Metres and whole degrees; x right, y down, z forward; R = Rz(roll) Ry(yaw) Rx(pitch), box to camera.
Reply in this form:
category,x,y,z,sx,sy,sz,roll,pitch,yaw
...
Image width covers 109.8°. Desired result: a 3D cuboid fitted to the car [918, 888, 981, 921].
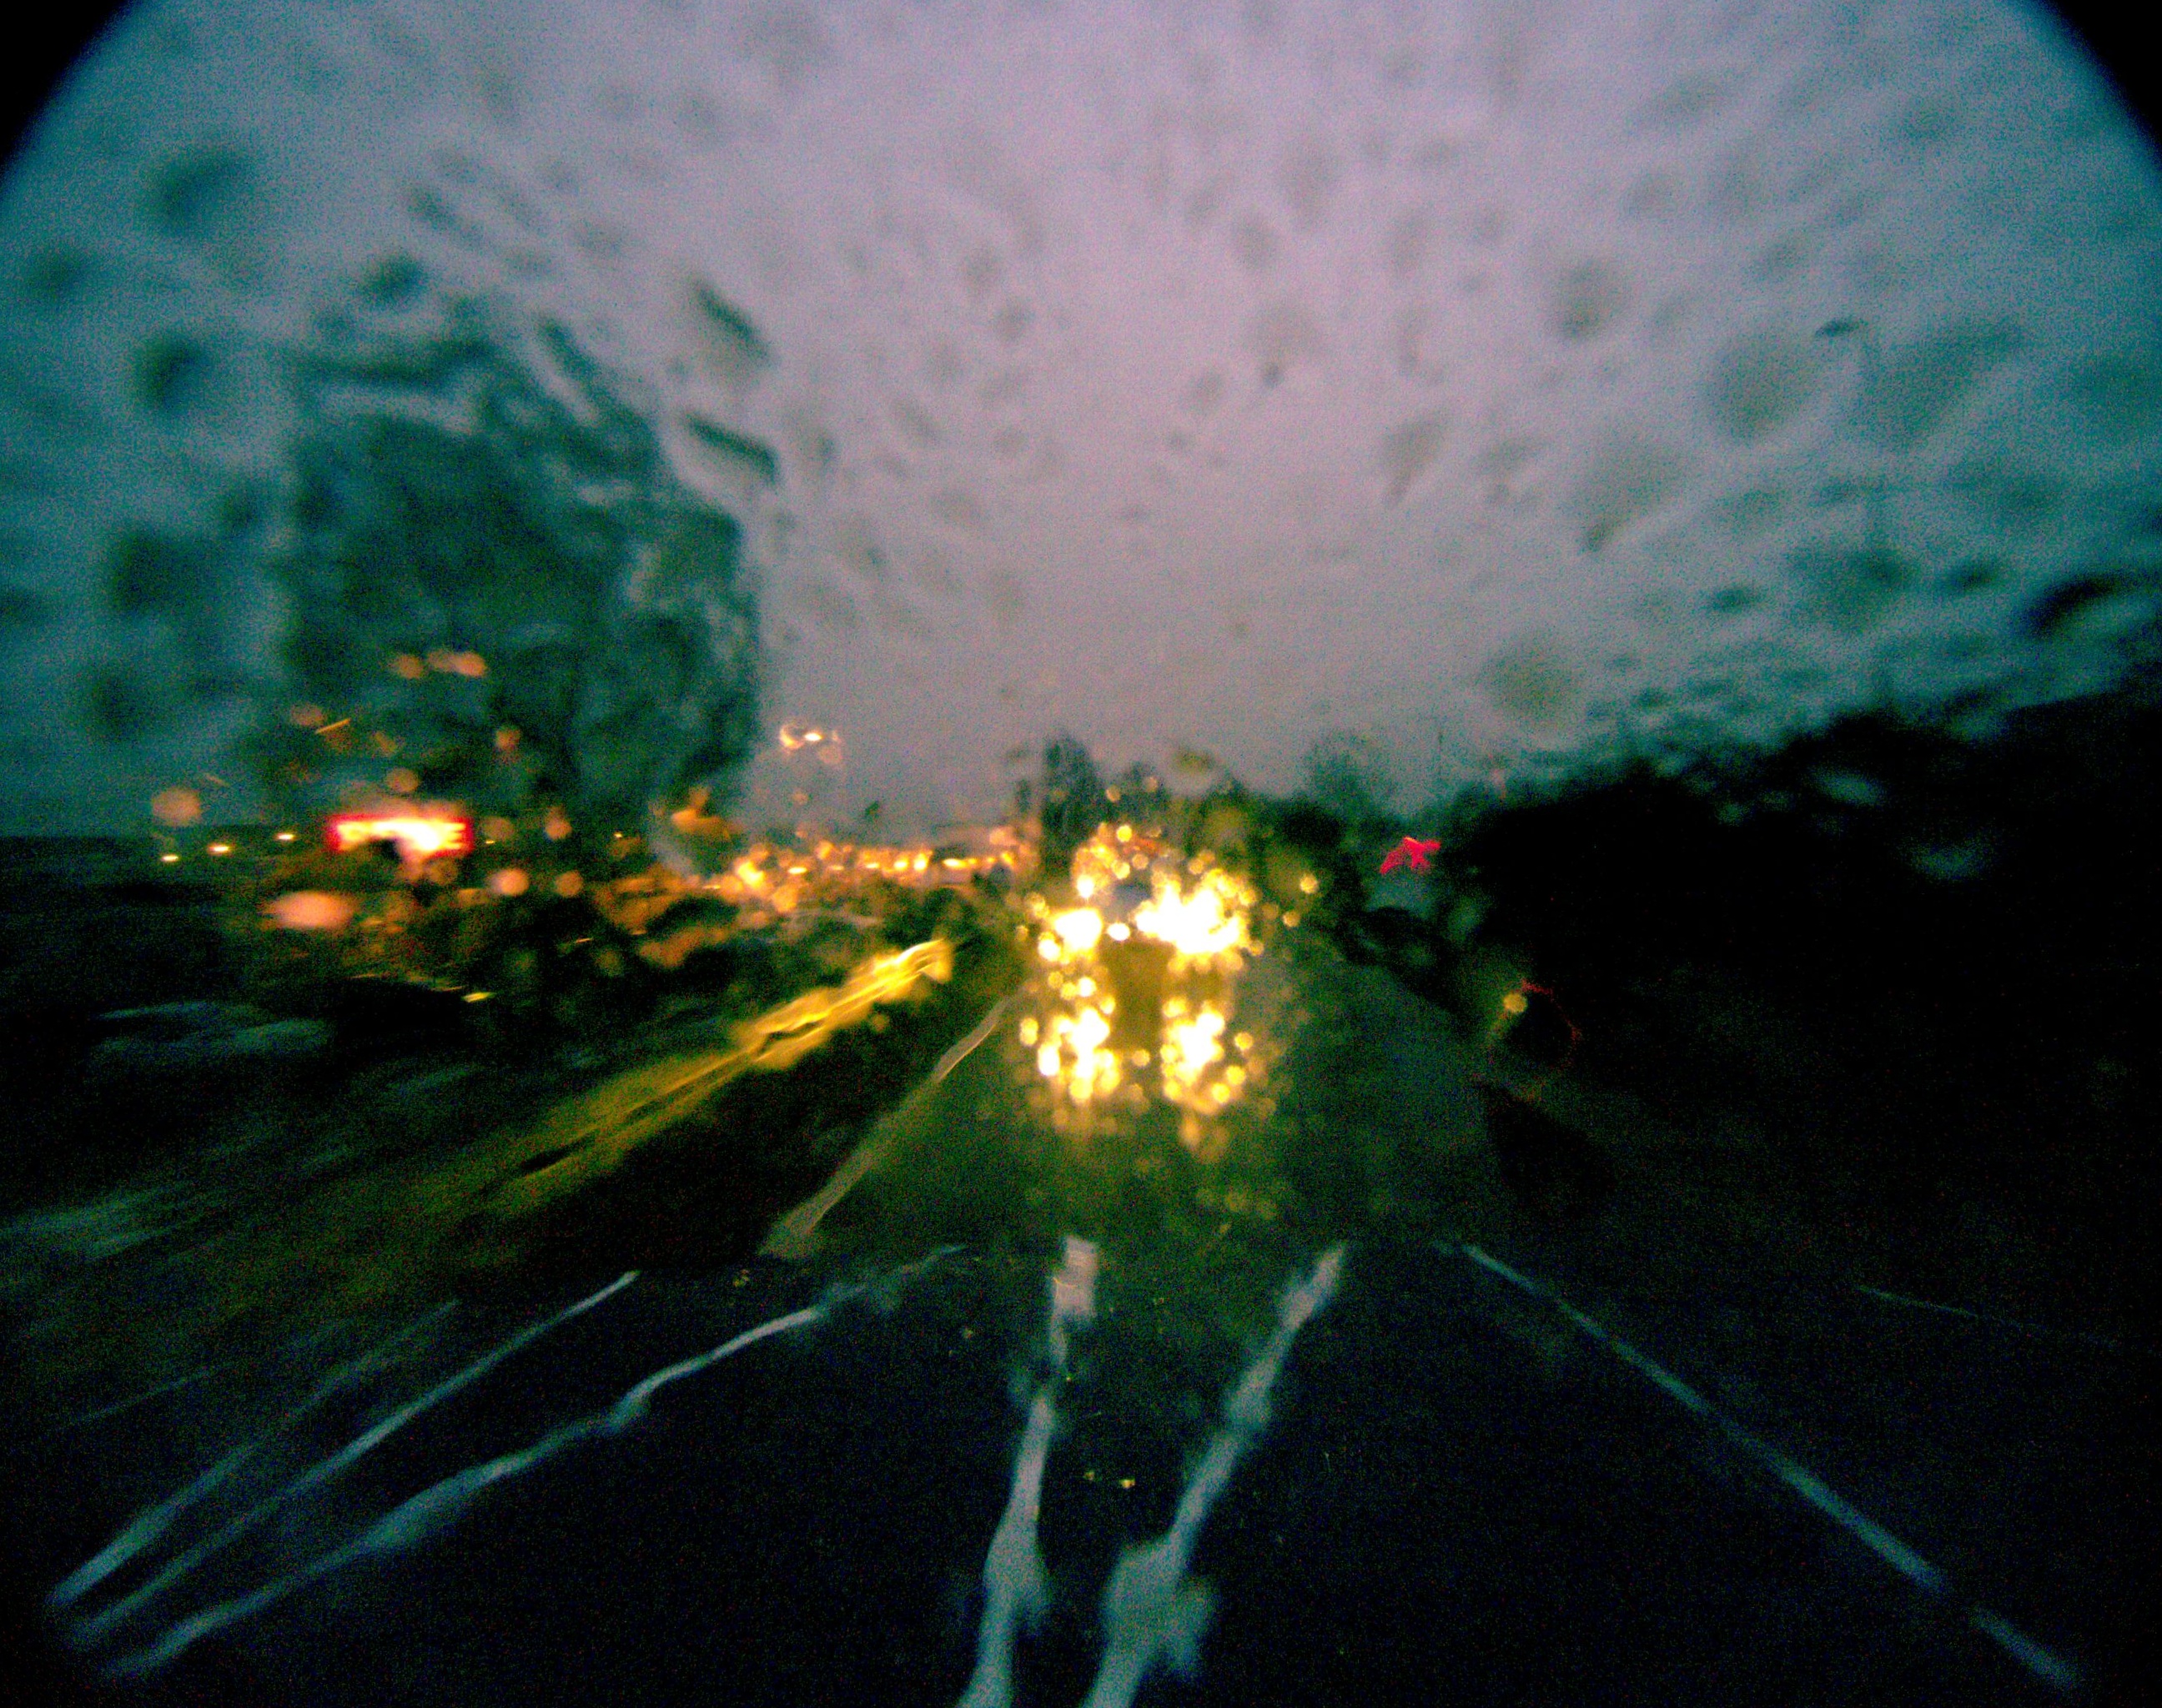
category,x,y,z,sx,sy,sz,roll,pitch,yaw
car,-7.139,2.725,41.639,1.770,1.421,3.816,-2,1,19

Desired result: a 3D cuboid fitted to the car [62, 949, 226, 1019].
category,x,y,z,sx,sy,sz,roll,pitch,yaw
car,-27.307,3.720,22.320,1.571,1.344,3.831,-3,0,-27

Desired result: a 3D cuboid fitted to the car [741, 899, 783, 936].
category,x,y,z,sx,sy,sz,roll,pitch,yaw
car,-16.738,3.255,39.752,1.808,1.526,4.534,-3,0,-25

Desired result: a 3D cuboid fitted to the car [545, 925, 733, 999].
category,x,y,z,sx,sy,sz,roll,pitch,yaw
car,-13.027,3.130,22.651,4.594,1.447,1.927,-3,2,-30

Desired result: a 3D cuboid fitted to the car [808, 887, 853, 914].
category,x,y,z,sx,sy,sz,roll,pitch,yaw
car,-17.109,3.155,51.750,1.804,1.586,3.970,-3,0,-35

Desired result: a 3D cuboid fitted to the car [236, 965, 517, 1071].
category,x,y,z,sx,sy,sz,roll,pitch,yaw
car,-14.612,3.357,16.081,4.005,1.412,1.628,-3,1,-27

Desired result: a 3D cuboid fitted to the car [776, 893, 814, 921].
category,x,y,z,sx,sy,sz,roll,pitch,yaw
car,-18.262,3.350,48.387,1.730,1.493,4.017,-2,0,-27

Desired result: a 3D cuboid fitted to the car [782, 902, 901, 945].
category,x,y,z,sx,sy,sz,roll,pitch,yaw
car,-10.314,2.944,32.774,4.708,1.389,1.901,-2,1,-20

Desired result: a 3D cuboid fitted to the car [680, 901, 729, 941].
category,x,y,z,sx,sy,sz,roll,pitch,yaw
car,-18.121,3.186,36.692,1.601,1.576,3.626,-3,0,-19

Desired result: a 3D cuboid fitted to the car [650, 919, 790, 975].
category,x,y,z,sx,sy,sz,roll,pitch,yaw
car,-12.329,3.157,26.224,4.184,1.389,1.901,-2,1,-23

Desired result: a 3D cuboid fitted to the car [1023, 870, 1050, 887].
category,x,y,z,sx,sy,sz,roll,pitch,yaw
car,-4.325,2.318,73.288,1.716,1.404,4.008,-2,1,-15

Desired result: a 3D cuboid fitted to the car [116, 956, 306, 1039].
category,x,y,z,sx,sy,sz,roll,pitch,yaw
car,-23.712,3.833,20.964,1.748,1.417,4.308,-3,0,-24

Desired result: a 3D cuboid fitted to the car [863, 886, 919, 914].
category,x,y,z,sx,sy,sz,roll,pitch,yaw
car,-12.313,2.959,49.242,3.260,1.526,1.390,-4,0,-21

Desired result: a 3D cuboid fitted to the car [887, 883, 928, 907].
category,x,y,z,sx,sy,sz,roll,pitch,yaw
car,-12.250,2.846,53.460,1.723,1.508,3.250,-4,1,-33

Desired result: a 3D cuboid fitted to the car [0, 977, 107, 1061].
category,x,y,z,sx,sy,sz,roll,pitch,yaw
car,-24.653,3.836,17.150,1.571,1.421,3.754,-3,0,-22

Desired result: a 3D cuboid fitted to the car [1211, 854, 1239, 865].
category,x,y,z,sx,sy,sz,roll,pitch,yaw
car,22.008,0.810,115.804,4.006,1.588,1.808,-2,1,15

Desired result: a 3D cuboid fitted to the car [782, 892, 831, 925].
category,x,y,z,sx,sy,sz,roll,pitch,yaw
car,-15.782,3.060,43.533,1.829,1.629,4.461,-3,-1,-30

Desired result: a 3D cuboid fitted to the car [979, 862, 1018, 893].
category,x,y,z,sx,sy,sz,roll,pitch,yaw
car,-7.357,2.015,67.143,2.283,2.426,5.231,-2,1,-18

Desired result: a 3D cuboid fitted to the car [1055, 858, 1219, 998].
category,x,y,z,sx,sy,sz,roll,pitch,yaw
car,0.758,0.878,10.995,1.809,1.452,4.246,-4,0,3

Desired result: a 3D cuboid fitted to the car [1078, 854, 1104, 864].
category,x,y,z,sx,sy,sz,roll,pitch,yaw
car,1.666,0.788,126.288,4.005,1.588,1.809,-2,1,18

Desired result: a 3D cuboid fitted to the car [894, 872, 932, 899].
category,x,y,z,sx,sy,sz,roll,pitch,yaw
car,-13.616,2.478,61.297,1.889,1.946,4.951,-4,0,-24

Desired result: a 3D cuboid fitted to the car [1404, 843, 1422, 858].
category,x,y,z,sx,sy,sz,roll,pitch,yaw
car,40.620,-0.438,93.045,1.696,1.569,3.889,-2,1,19

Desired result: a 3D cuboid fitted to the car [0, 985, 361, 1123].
category,x,y,z,sx,sy,sz,roll,pitch,yaw
car,-15.497,3.344,13.135,4.005,1.431,1.793,-3,1,-27

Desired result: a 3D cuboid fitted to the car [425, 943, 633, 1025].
category,x,y,z,sx,sy,sz,roll,pitch,yaw
car,-13.828,3.224,19.340,4.005,1.412,1.628,-3,1,-27

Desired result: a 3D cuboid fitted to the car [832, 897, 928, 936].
category,x,y,z,sx,sy,sz,roll,pitch,yaw
car,-9.433,2.886,35.646,4.184,1.389,1.848,-2,1,-20
